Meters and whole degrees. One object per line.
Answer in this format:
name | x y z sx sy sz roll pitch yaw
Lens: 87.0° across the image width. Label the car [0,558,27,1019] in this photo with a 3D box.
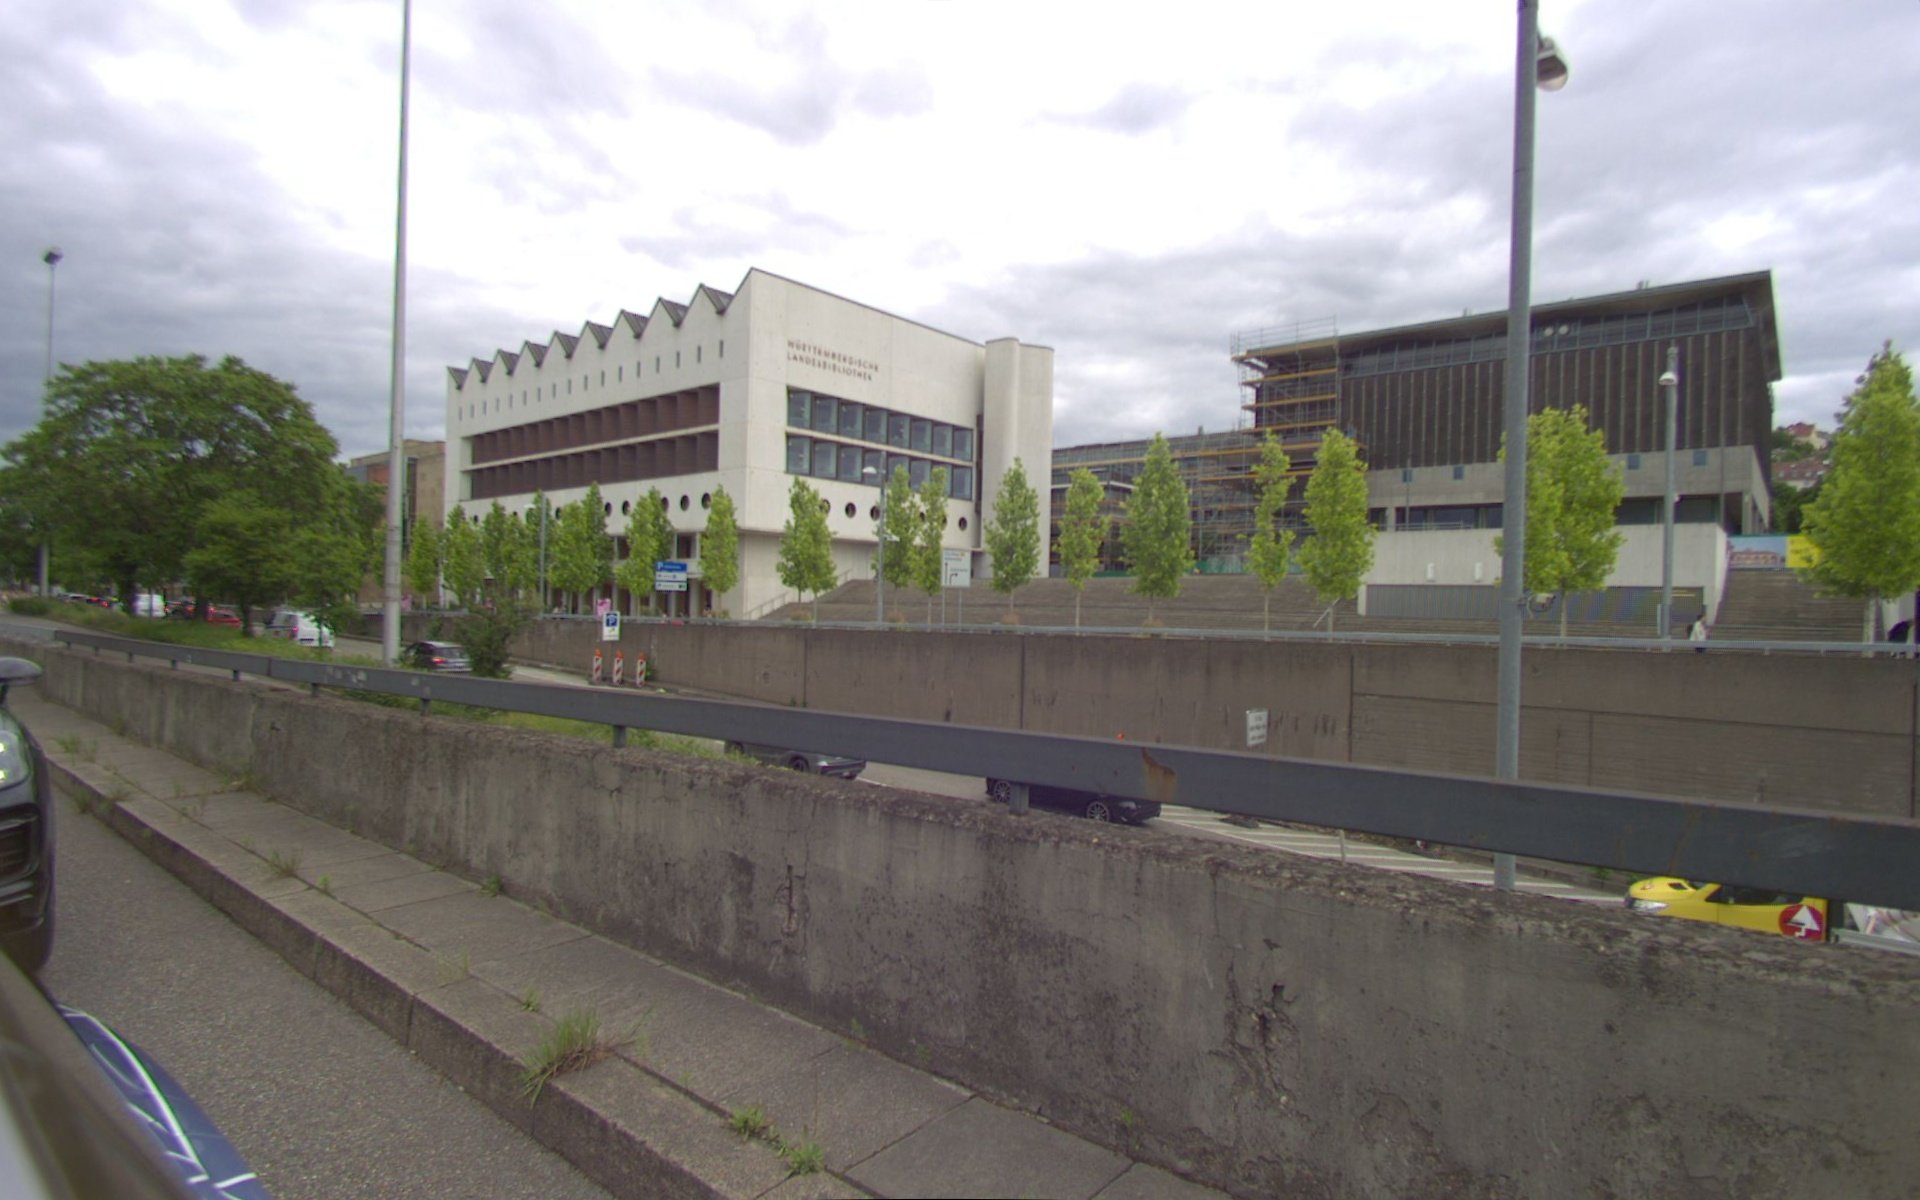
car | -5.641 0.647 4.510 4.733 1.602 1.879 0 0 44
